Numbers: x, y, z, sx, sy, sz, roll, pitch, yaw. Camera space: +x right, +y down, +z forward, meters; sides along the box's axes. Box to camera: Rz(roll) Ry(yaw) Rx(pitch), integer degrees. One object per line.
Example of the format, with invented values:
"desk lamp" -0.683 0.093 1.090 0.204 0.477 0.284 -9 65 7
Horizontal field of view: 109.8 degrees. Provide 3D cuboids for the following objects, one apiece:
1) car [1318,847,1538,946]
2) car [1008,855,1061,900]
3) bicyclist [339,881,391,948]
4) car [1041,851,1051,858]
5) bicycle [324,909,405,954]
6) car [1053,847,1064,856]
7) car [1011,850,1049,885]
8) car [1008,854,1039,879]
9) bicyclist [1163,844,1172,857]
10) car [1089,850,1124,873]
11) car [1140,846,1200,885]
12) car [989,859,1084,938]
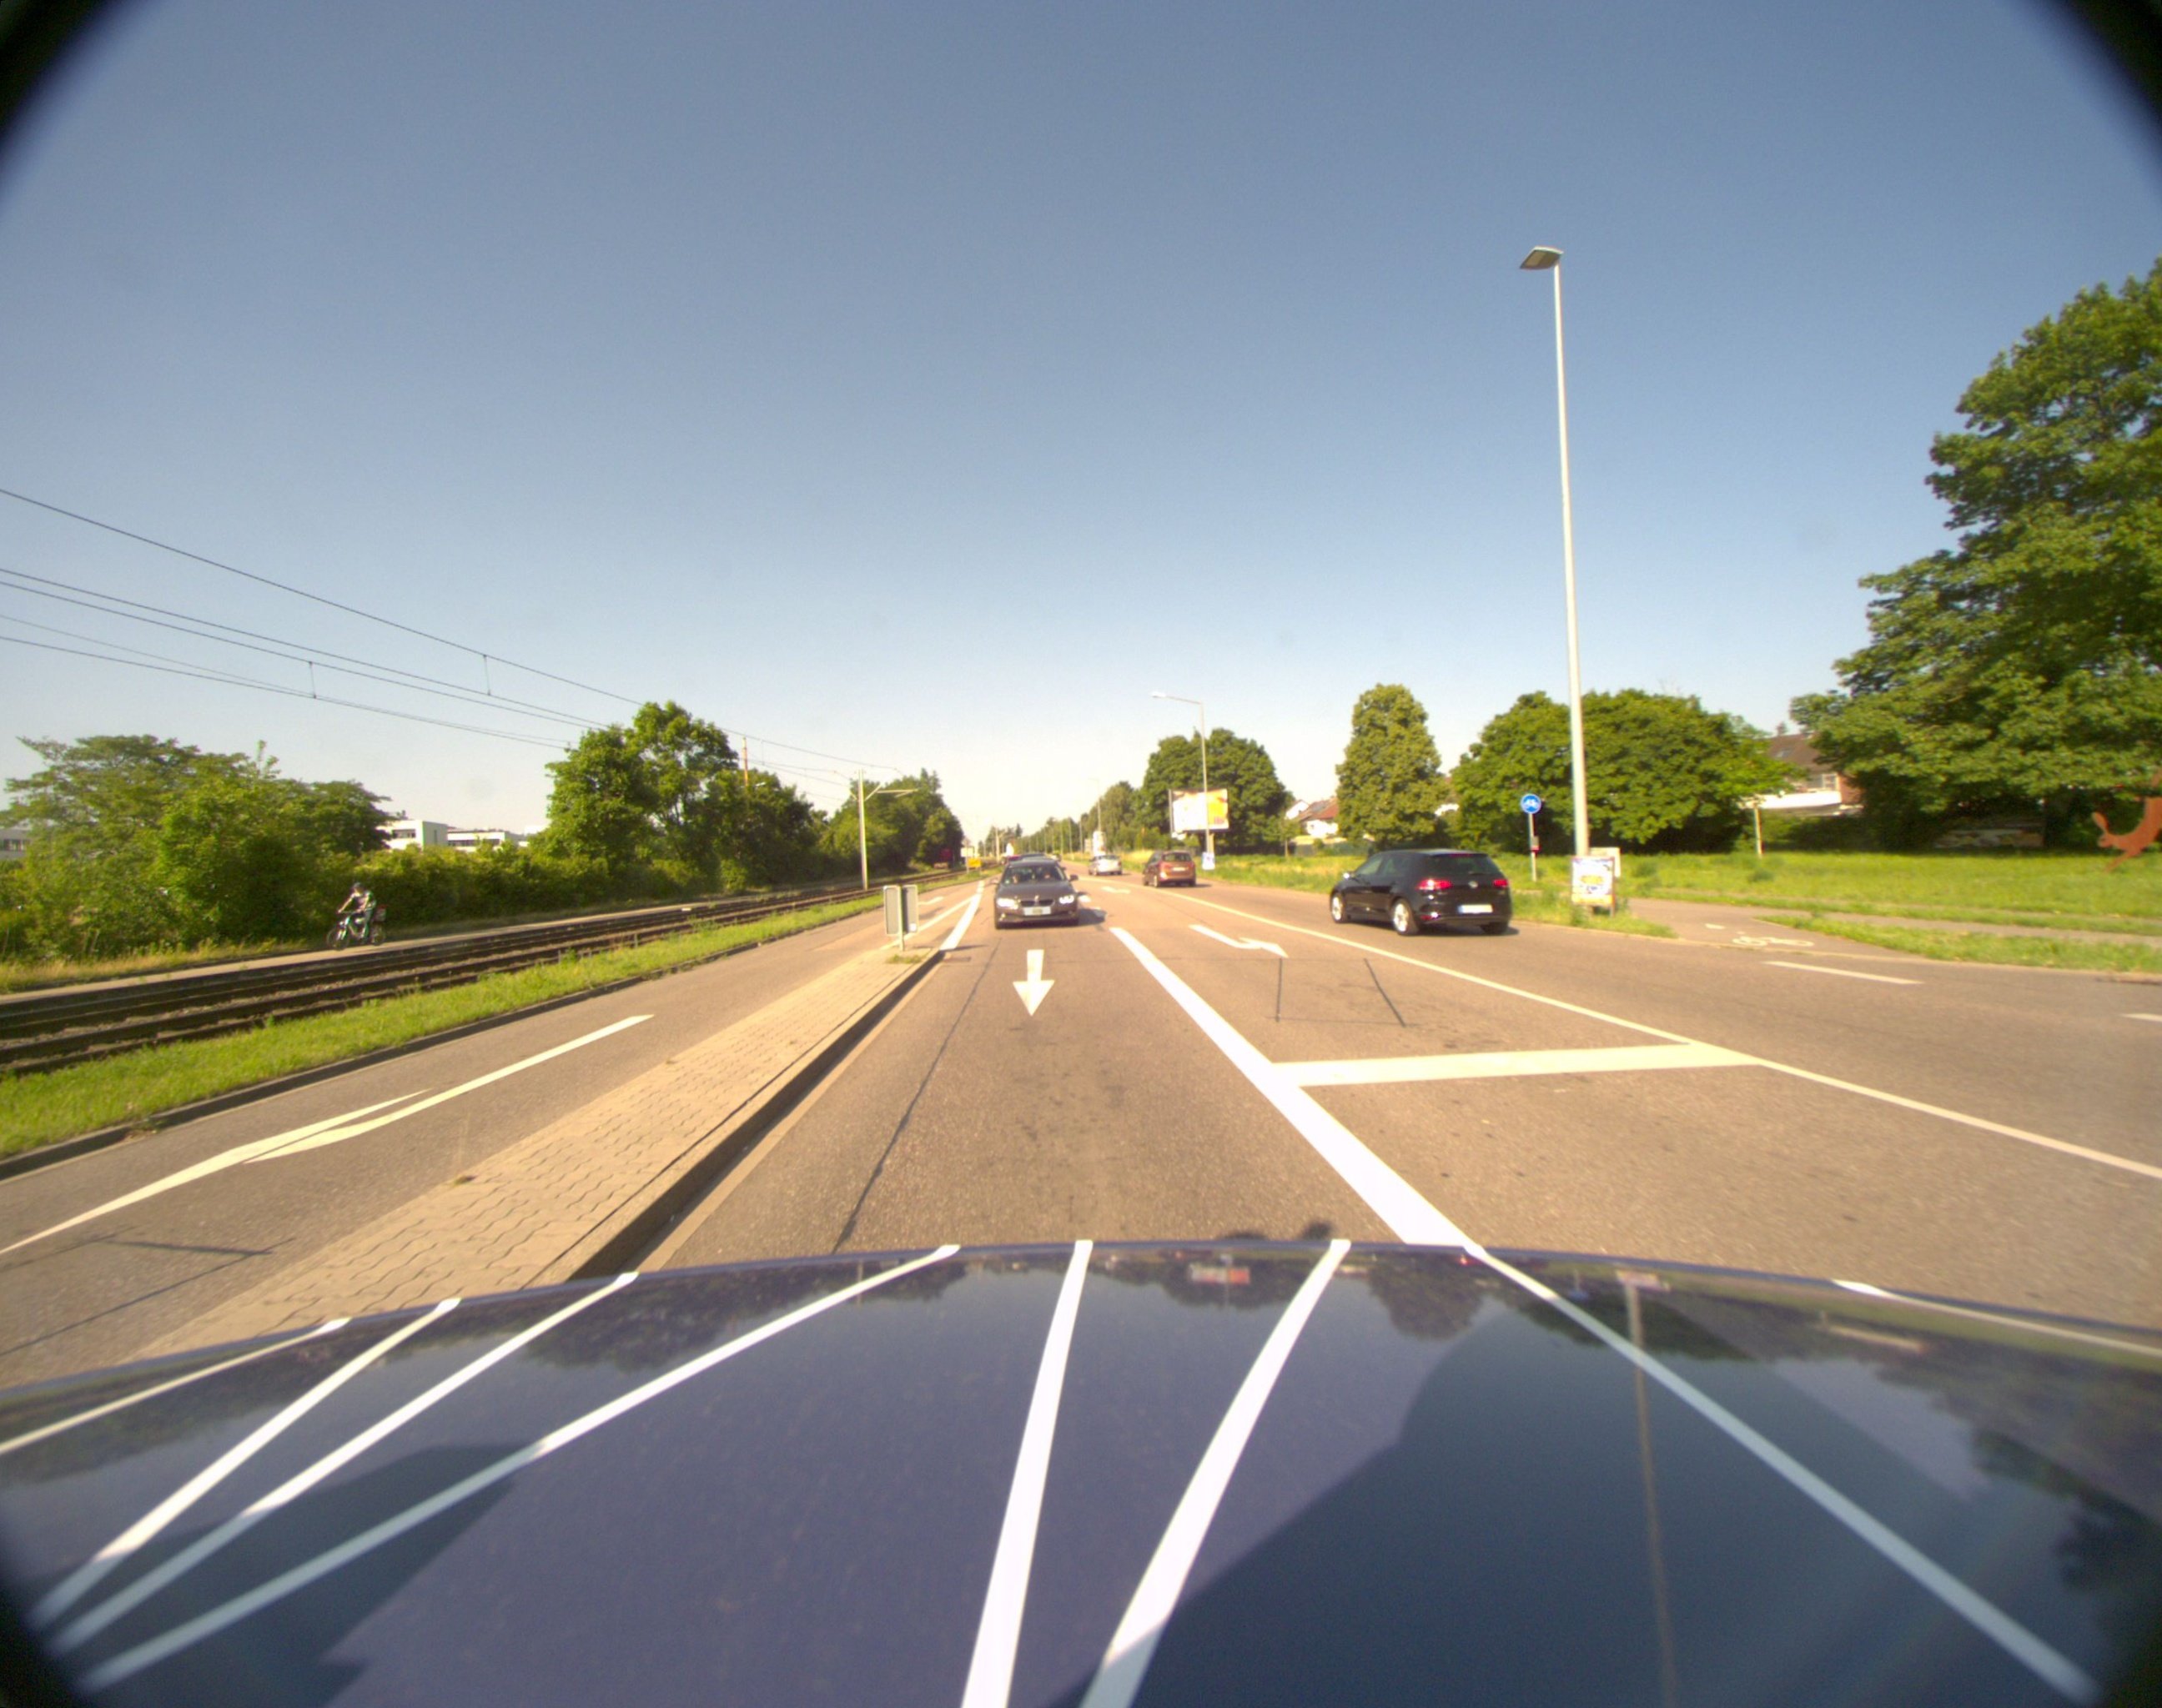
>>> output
"car" 6.027 0.648 13.817 1.894 1.465 4.098 -2 0 -4
"car" -1.803 0.824 29.287 1.821 1.481 4.609 -3 1 -4
"bicyclist" -20.382 1.707 21.651 0.708 1.797 0.717 -3 1 -3
"car" -7.940 0.089 171.001 1.700 1.489 3.673 -3 1 -9
"bicycle" -20.344 2.179 21.626 0.547 1.041 1.873 -3 1 -4
"car" -3.865 -0.442 128.843 1.638 1.551 3.674 -2 1 -5
"car" -2.779 0.691 40.975 1.821 1.641 4.609 -4 1 -4
"car" -3.714 0.765 49.349 1.807 1.498 4.195 -3 1 -4
"bicyclist" 9.466 -0.382 83.038 0.638 1.420 1.071 -3 1 -5
"car" 1.679 0.479 51.534 1.708 1.456 4.366 -1 0 -8
"car" 3.787 0.457 32.936 1.750 1.553 3.997 -1 0 -6
"car" -1.043 0.922 17.607 1.821 1.416 4.459 -4 1 -4
